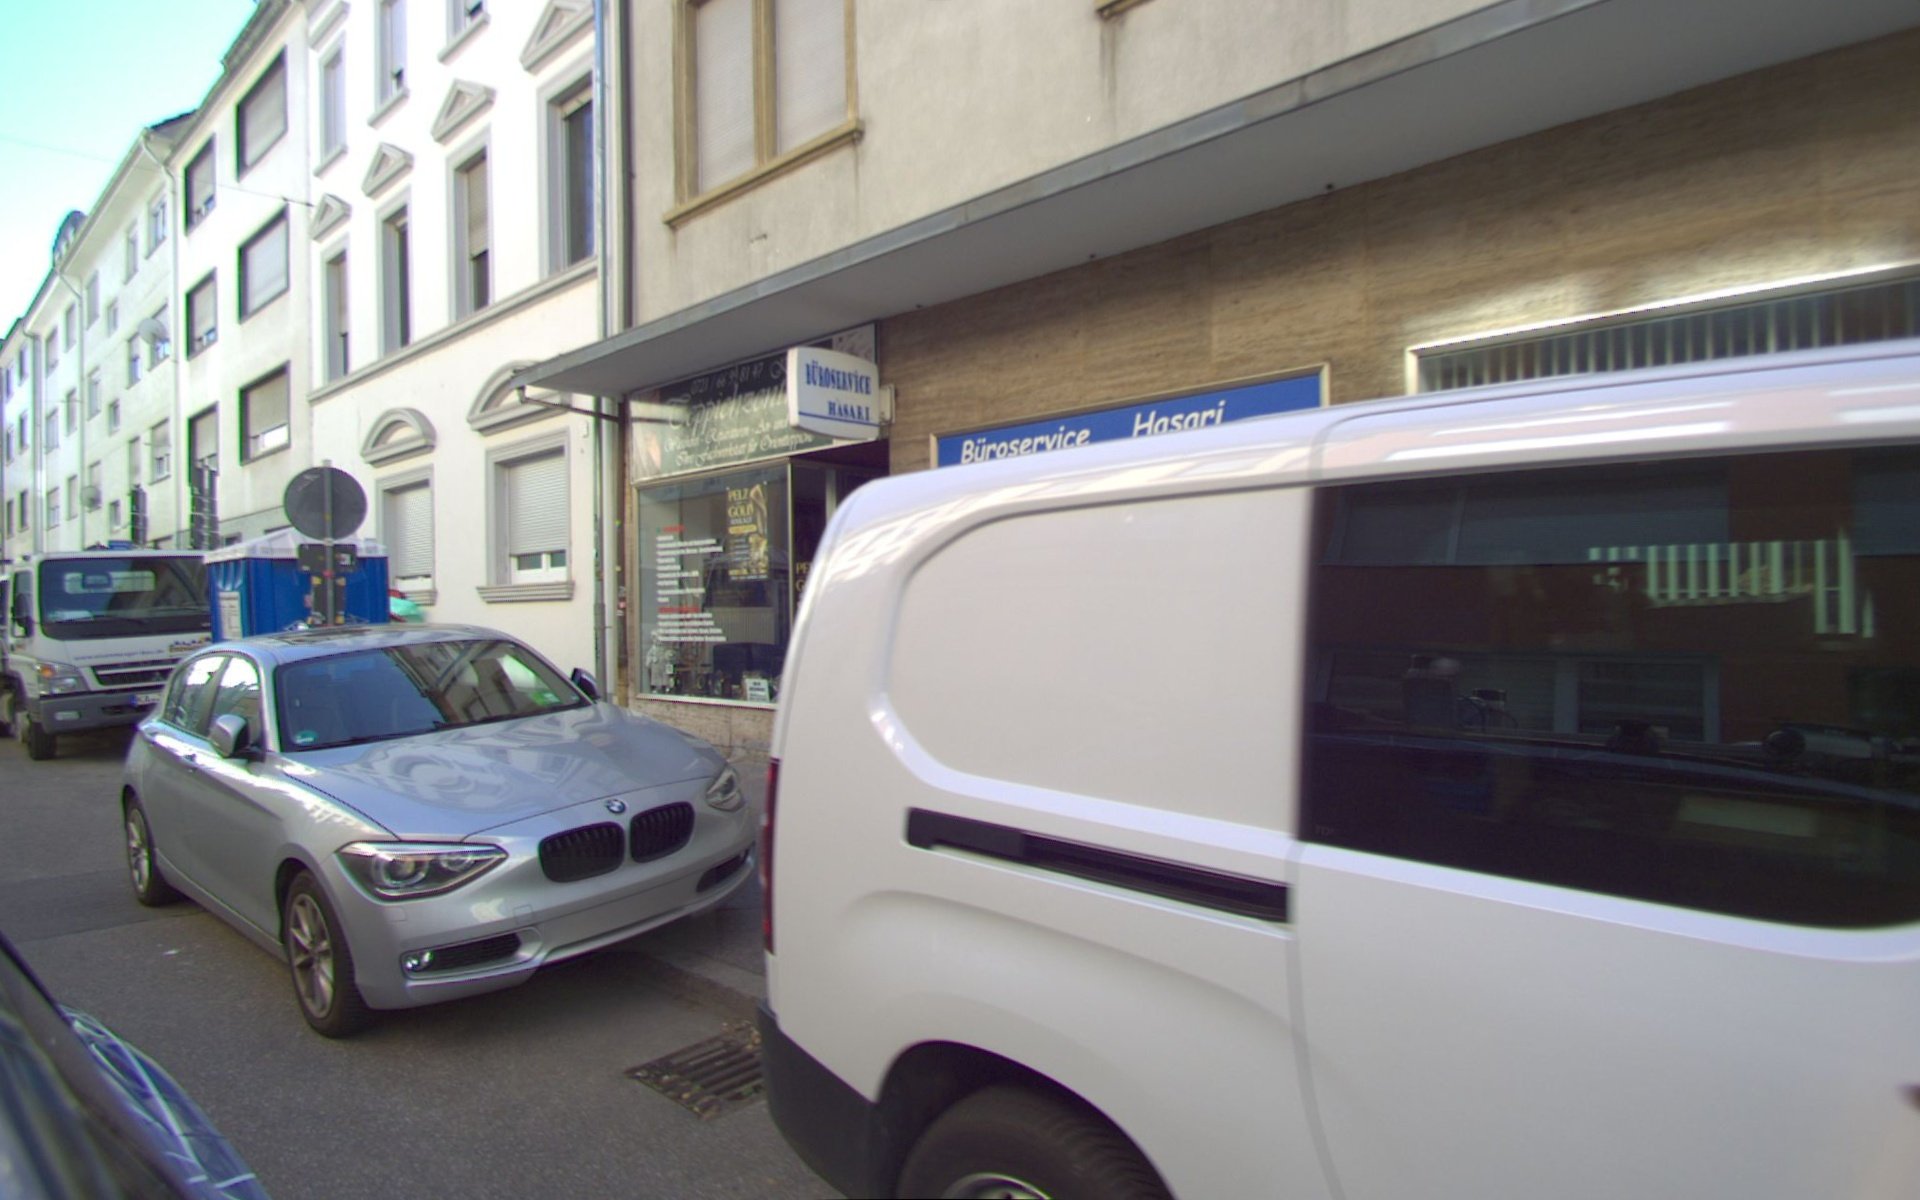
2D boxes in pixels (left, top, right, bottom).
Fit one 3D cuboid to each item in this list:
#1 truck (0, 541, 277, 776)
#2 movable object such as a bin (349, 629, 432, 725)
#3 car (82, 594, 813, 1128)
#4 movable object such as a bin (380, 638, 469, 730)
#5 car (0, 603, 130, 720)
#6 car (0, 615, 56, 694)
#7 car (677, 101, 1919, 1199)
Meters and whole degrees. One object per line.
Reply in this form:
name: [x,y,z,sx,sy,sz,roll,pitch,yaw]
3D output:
truck: [-11.166,0.625,12.794,6.336,2.326,2.145,0,-2,36]
movable object such as a bin: [-7.580,1.001,13.476,0.685,1.199,0.750,-1,-1,37]
car: [-2.841,0.834,5.038,4.486,1.535,1.647,-2,-3,41]
movable object such as a bin: [-6.731,1.028,12.729,0.695,1.080,0.778,-1,-1,37]
car: [-17.185,1.062,18.491,5.176,1.896,1.895,-1,-3,37]
car: [-23.085,1.234,23.959,4.172,1.783,1.738,0,-2,37]
car: [1.798,0.518,1.241,4.805,1.913,1.749,-2,-3,40]
